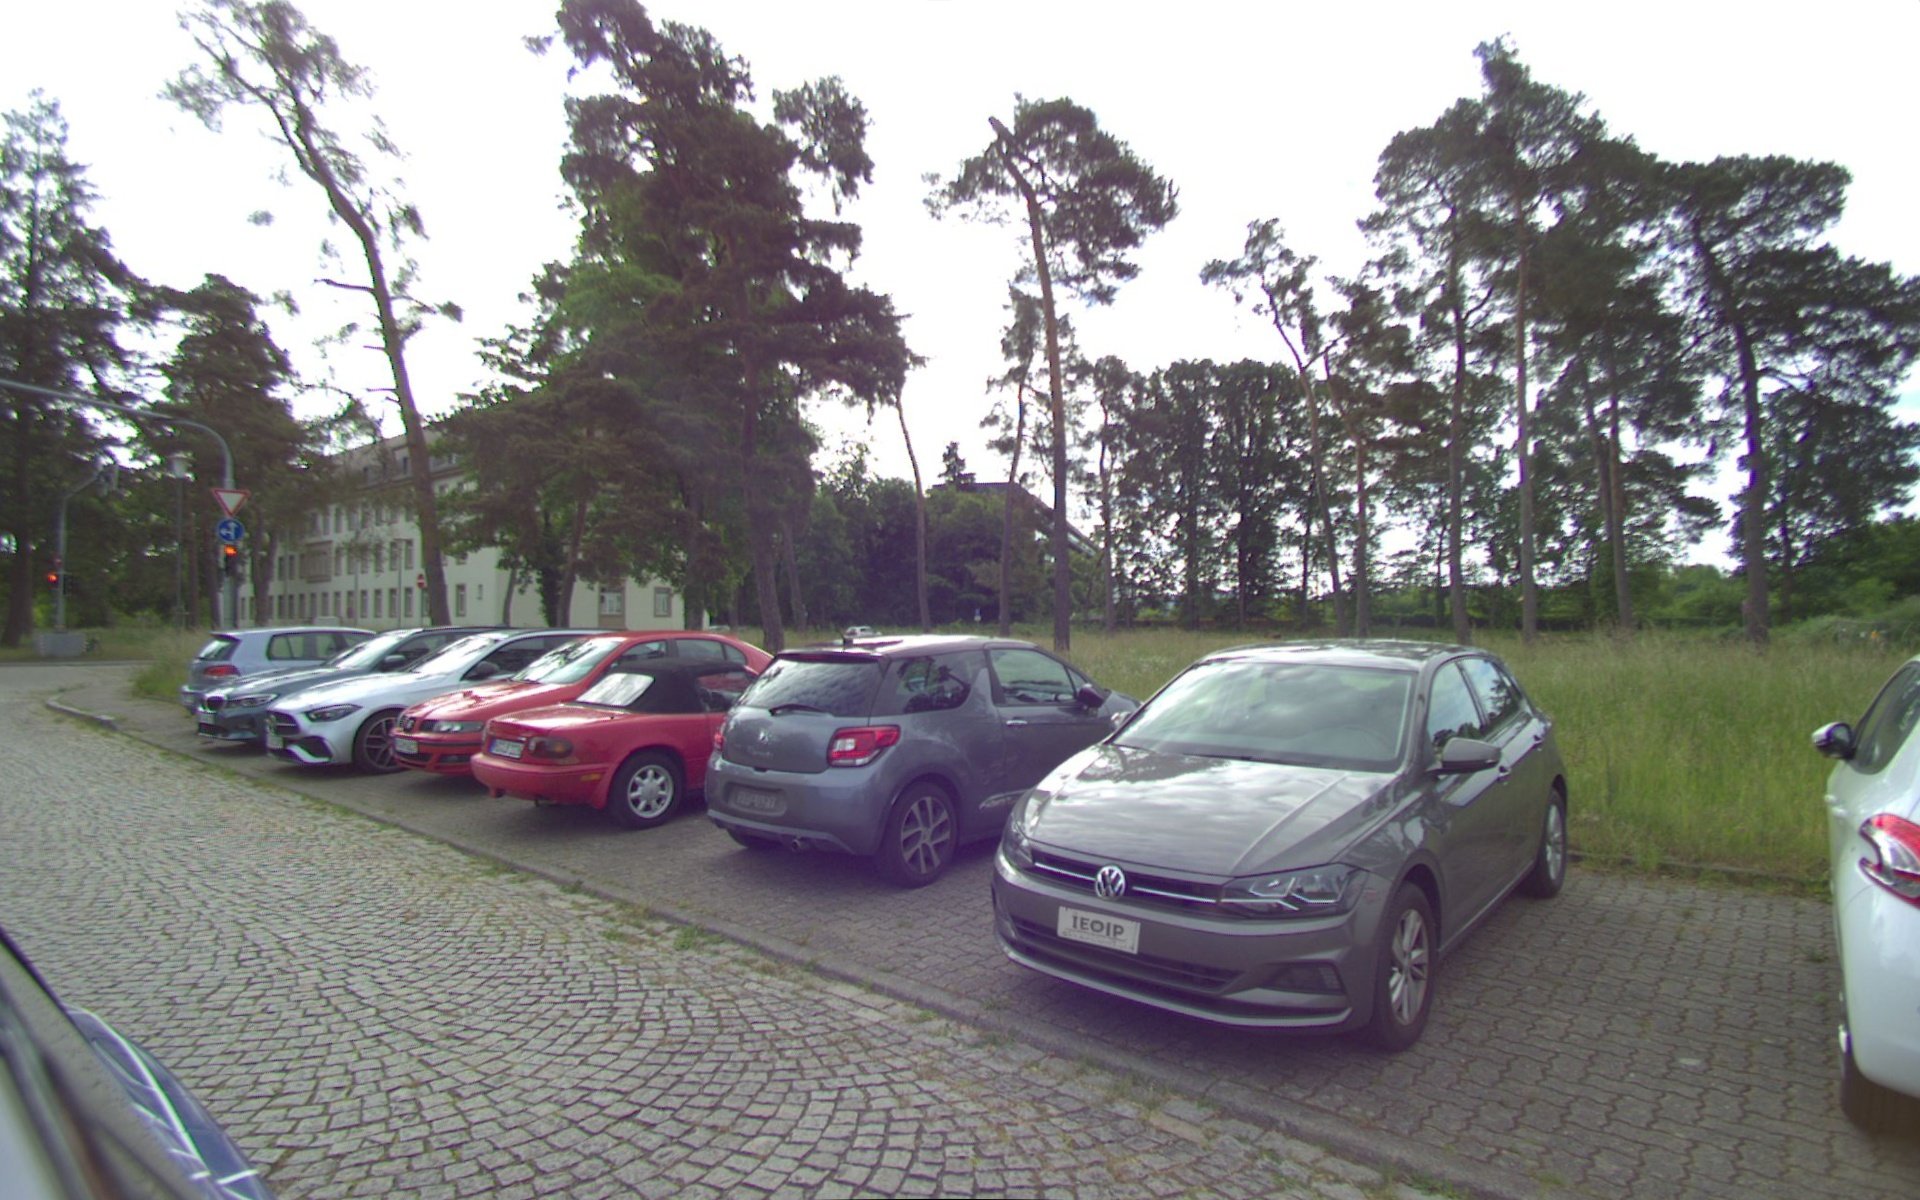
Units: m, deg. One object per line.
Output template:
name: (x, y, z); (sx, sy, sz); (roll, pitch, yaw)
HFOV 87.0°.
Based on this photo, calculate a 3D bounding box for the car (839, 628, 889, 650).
car: (-7.869, 3.191, 83.125); (1.722, 1.821, 3.943); (-2, -3, 43)

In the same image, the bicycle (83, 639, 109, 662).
bicycle: (-35.300, 2.063, 41.339); (1.046, 0.923, 0.291); (-1, -2, 19)

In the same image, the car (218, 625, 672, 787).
car: (-5.783, 1.072, 11.857); (1.933, 1.519, 4.332); (-2, -2, 38)

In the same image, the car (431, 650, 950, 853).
car: (-2.135, 1.118, 8.941); (1.830, 1.276, 4.122); (-2, -3, 41)

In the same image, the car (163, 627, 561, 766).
car: (-7.852, 1.154, 13.656); (1.932, 1.560, 4.211); (-2, -2, 37)

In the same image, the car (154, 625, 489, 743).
car: (-9.651, 1.181, 15.550); (1.903, 1.555, 3.947); (-2, -3, 39)

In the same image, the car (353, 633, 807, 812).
car: (-3.779, 1.096, 10.672); (1.863, 1.488, 4.124); (-2, -3, 39)

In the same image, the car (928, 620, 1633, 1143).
car: (1.924, 0.879, 5.104); (1.864, 1.503, 4.121); (-2, -3, 42)

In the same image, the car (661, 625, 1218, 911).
car: (0.109, 0.948, 7.492); (1.845, 1.493, 4.122); (-2, -3, 41)

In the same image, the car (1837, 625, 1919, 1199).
car: (4.362, 0.848, 3.594); (1.845, 1.509, 4.025); (-2, -3, 41)
